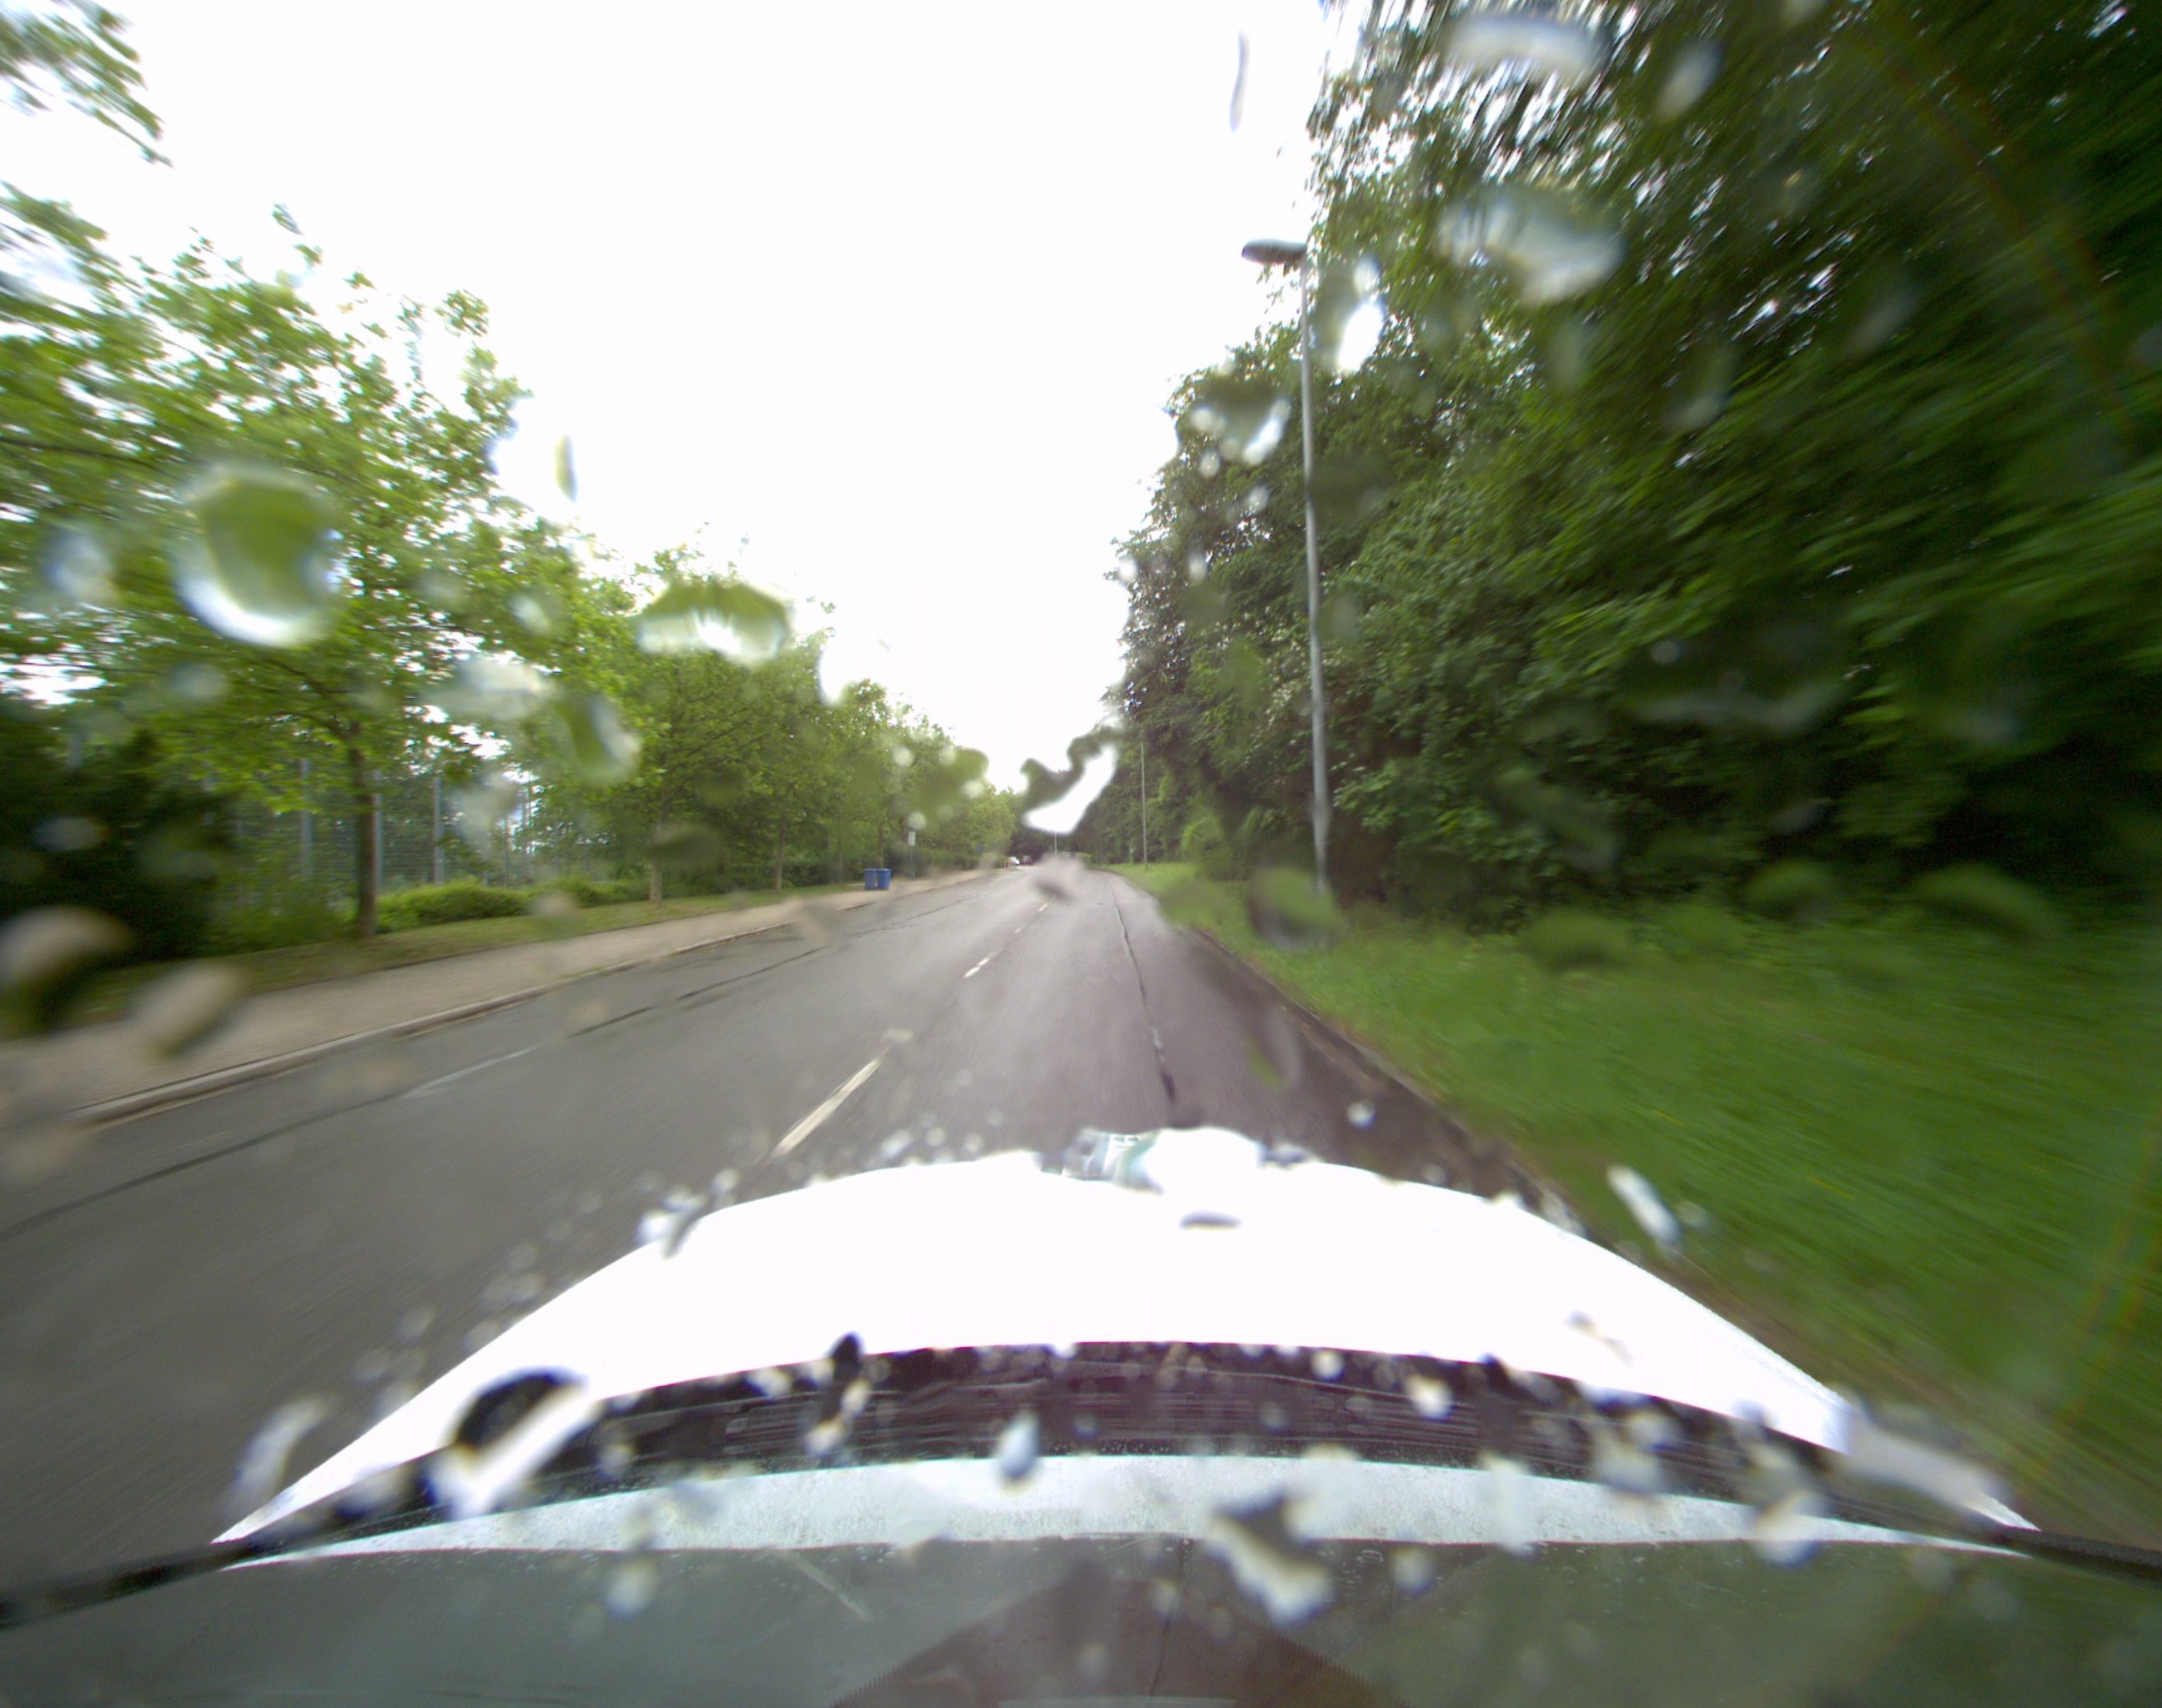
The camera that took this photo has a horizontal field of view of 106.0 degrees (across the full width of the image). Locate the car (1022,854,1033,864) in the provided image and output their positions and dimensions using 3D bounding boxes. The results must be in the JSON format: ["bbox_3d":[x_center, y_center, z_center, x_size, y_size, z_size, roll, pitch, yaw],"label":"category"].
[{"bbox_3d":[-8.856,0.775,134.725,1.791,1.510,3.995,-3,0,-4],"label":"car"}]

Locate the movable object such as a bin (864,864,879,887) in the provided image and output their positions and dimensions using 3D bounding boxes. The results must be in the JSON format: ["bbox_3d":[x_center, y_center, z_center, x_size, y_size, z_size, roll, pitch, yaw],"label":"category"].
[{"bbox_3d":[-10.542,1.084,40.946,0.564,1.098,0.672,1,0,2],"label":"movable object such as a bin"}]

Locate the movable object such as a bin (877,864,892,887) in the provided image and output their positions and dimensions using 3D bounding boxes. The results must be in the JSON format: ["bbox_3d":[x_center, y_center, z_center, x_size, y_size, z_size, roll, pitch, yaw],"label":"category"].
[{"bbox_3d":[-9.935,1.080,41.125,0.564,1.098,0.672,1,0,2],"label":"movable object such as a bin"}]

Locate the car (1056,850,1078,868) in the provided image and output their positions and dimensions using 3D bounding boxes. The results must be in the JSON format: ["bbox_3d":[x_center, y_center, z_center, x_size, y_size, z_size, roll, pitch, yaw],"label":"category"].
[{"bbox_3d":[-1.550,0.559,90.055,1.984,1.925,3.989,-1,0,-8],"label":"car"}]

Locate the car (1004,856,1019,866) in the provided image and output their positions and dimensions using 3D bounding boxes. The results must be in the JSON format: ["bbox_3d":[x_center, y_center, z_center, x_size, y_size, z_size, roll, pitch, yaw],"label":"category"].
[{"bbox_3d":[-10.651,1.064,124.927,1.827,1.465,3.985,-3,0,-11],"label":"car"}]
